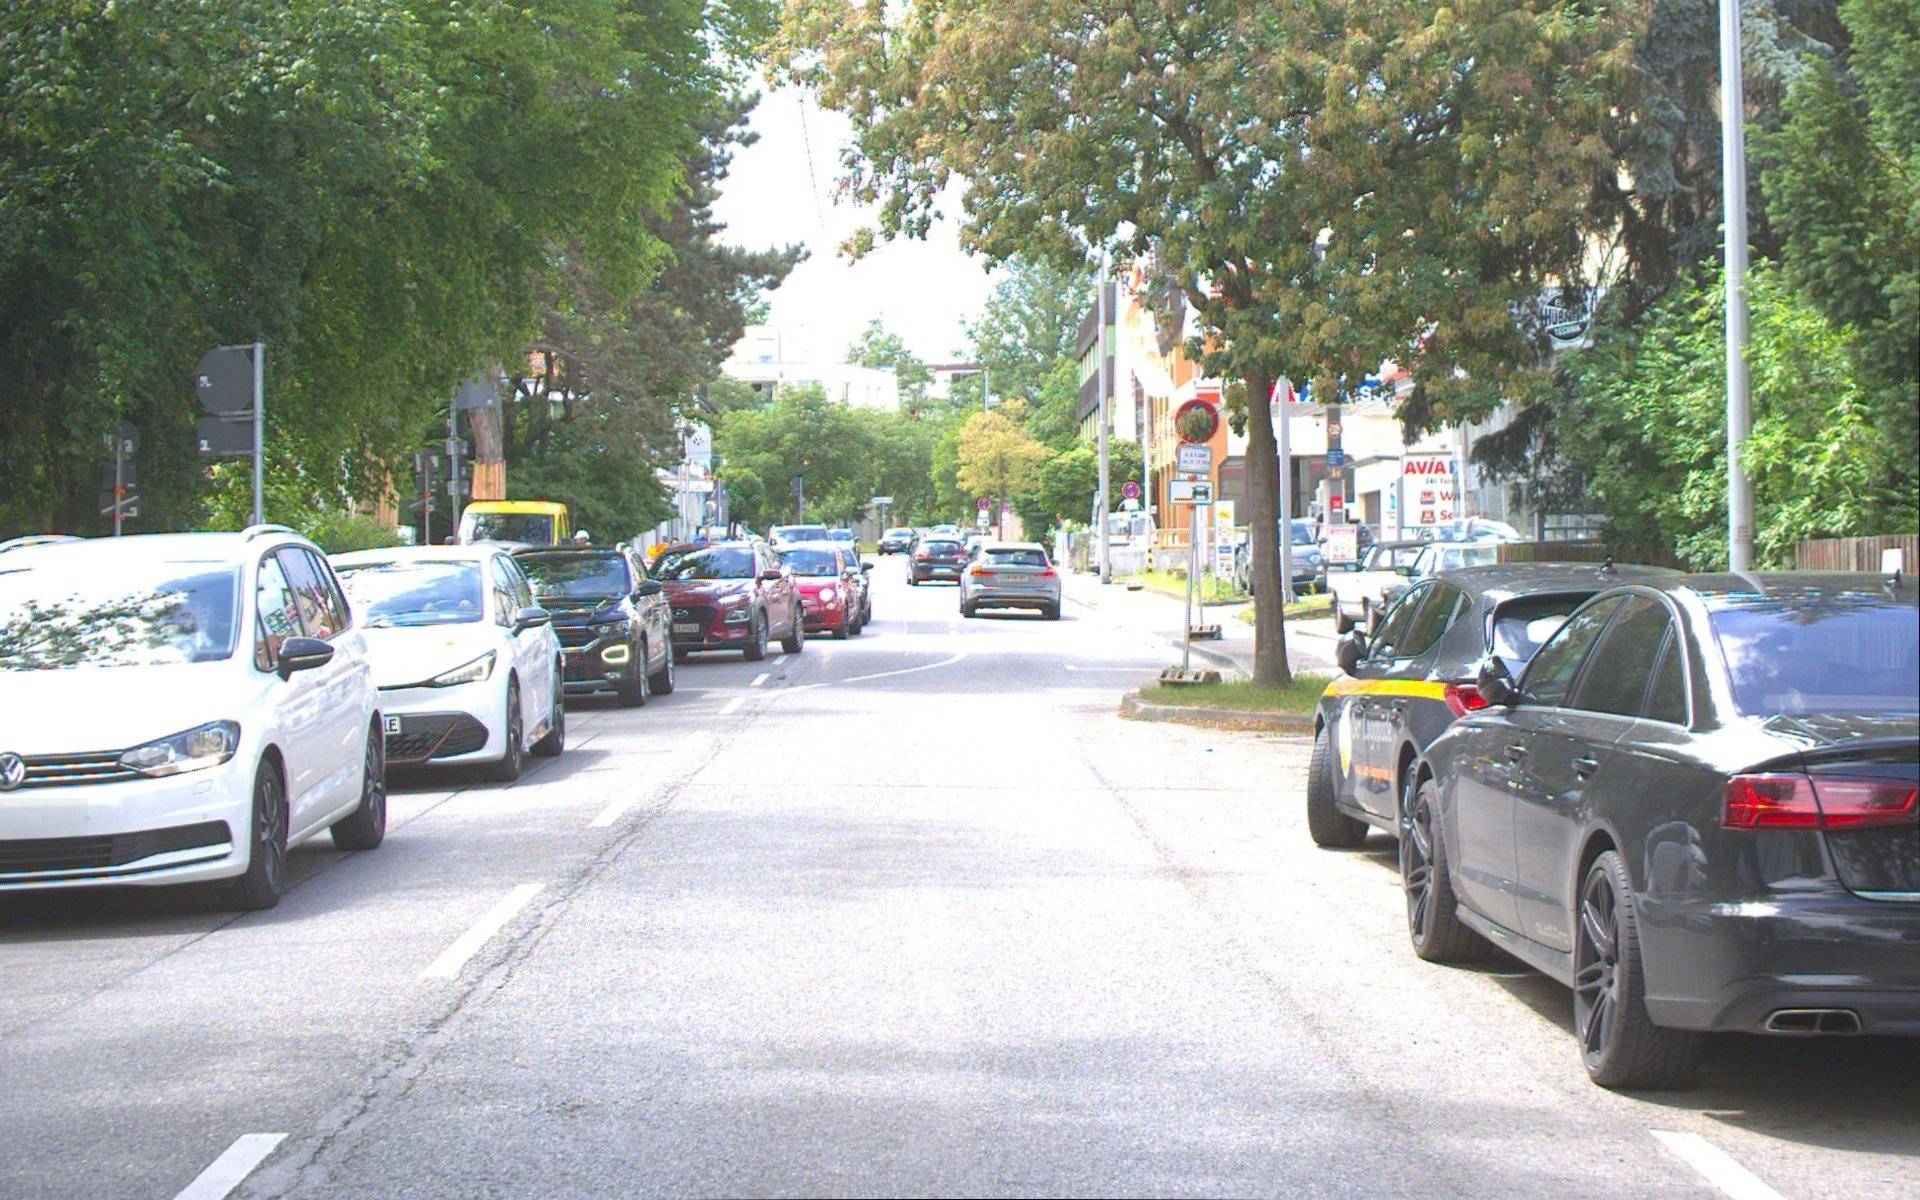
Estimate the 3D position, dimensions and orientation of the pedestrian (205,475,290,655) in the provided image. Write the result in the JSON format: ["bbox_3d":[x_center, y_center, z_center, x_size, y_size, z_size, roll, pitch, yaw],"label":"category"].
[{"bbox_3d":[-7.076,-0.344,34.172,0.714,1.756,1.122,0,0,-6],"label":"pedestrian"}]

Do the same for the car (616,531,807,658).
[{"bbox_3d":[-3.207,-0.111,45.118,1.762,1.528,4.095,-2,1,6],"label":"car"}]

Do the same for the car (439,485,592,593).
[{"bbox_3d":[-8.413,-1.123,65.415,2.146,1.974,4.930,0,0,2],"label":"car"}]

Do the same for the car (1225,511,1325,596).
[{"bbox_3d":[6.536,-0.978,71.626,1.784,1.629,3.692,-3,1,2],"label":"car"}]

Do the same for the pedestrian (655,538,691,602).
[{"bbox_3d":[-6.387,-0.666,76.505,0.704,1.434,0.714,0,0,-12],"label":"pedestrian"}]

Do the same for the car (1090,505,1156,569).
[{"bbox_3d":[5.239,-2.009,110.707,1.993,2.007,4.000,0,0,1],"label":"car"}]

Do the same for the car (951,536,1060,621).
[{"bbox_3d":[0.846,-0.442,66.876,1.976,1.508,4.267,3,1,0],"label":"car"}]

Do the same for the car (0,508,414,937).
[{"bbox_3d":[-3.745,0.450,15.674,1.786,1.642,4.491,-2,1,-1],"label":"car"}]

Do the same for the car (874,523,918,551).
[{"bbox_3d":[-3.405,-3.367,183.475,2.111,1.495,4.267,0,1,2],"label":"car"}]

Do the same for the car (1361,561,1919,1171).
[{"bbox_3d":[2.559,0.642,10.867,1.801,1.440,4.887,2,1,-2],"label":"car"}]

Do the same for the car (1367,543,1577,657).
[{"bbox_3d":[6.223,-0.035,42.222,1.724,1.312,4.267,0,1,-3],"label":"car"}]

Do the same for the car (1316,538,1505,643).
[{"bbox_3d":[6.137,-0.165,47.272,1.722,1.359,4.485,0,1,-4],"label":"car"}]

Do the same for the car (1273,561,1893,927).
[{"bbox_3d":[2.714,0.555,16.077,1.824,1.412,4.510,1,1,-3],"label":"car"}]

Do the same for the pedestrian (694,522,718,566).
[{"bbox_3d":[-8.366,-1.843,113.196,0.704,1.434,0.713,0,0,3],"label":"pedestrian"}]

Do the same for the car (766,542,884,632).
[{"bbox_3d":[-2.411,-0.239,62.156,1.929,1.572,4.296,0,0,0],"label":"car"}]

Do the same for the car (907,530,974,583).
[{"bbox_3d":[-0.600,-1.311,102.342,1.816,1.495,4.267,1,1,-3],"label":"car"}]

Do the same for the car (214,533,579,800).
[{"bbox_3d":[-3.700,0.372,23.269,1.785,1.586,4.154,-2,1,-1],"label":"car"}]

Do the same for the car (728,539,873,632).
[{"bbox_3d":[-2.478,-0.233,54.149,1.691,1.420,3.436,0,0,8],"label":"car"}]

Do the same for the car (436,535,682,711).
[{"bbox_3d":[-3.803,0.166,33.246,1.789,1.536,4.263,-2,1,1],"label":"car"}]

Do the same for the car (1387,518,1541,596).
[{"bbox_3d":[8.973,-0.781,61.483,1.841,1.351,4.070,0,1,-5],"label":"car"}]
